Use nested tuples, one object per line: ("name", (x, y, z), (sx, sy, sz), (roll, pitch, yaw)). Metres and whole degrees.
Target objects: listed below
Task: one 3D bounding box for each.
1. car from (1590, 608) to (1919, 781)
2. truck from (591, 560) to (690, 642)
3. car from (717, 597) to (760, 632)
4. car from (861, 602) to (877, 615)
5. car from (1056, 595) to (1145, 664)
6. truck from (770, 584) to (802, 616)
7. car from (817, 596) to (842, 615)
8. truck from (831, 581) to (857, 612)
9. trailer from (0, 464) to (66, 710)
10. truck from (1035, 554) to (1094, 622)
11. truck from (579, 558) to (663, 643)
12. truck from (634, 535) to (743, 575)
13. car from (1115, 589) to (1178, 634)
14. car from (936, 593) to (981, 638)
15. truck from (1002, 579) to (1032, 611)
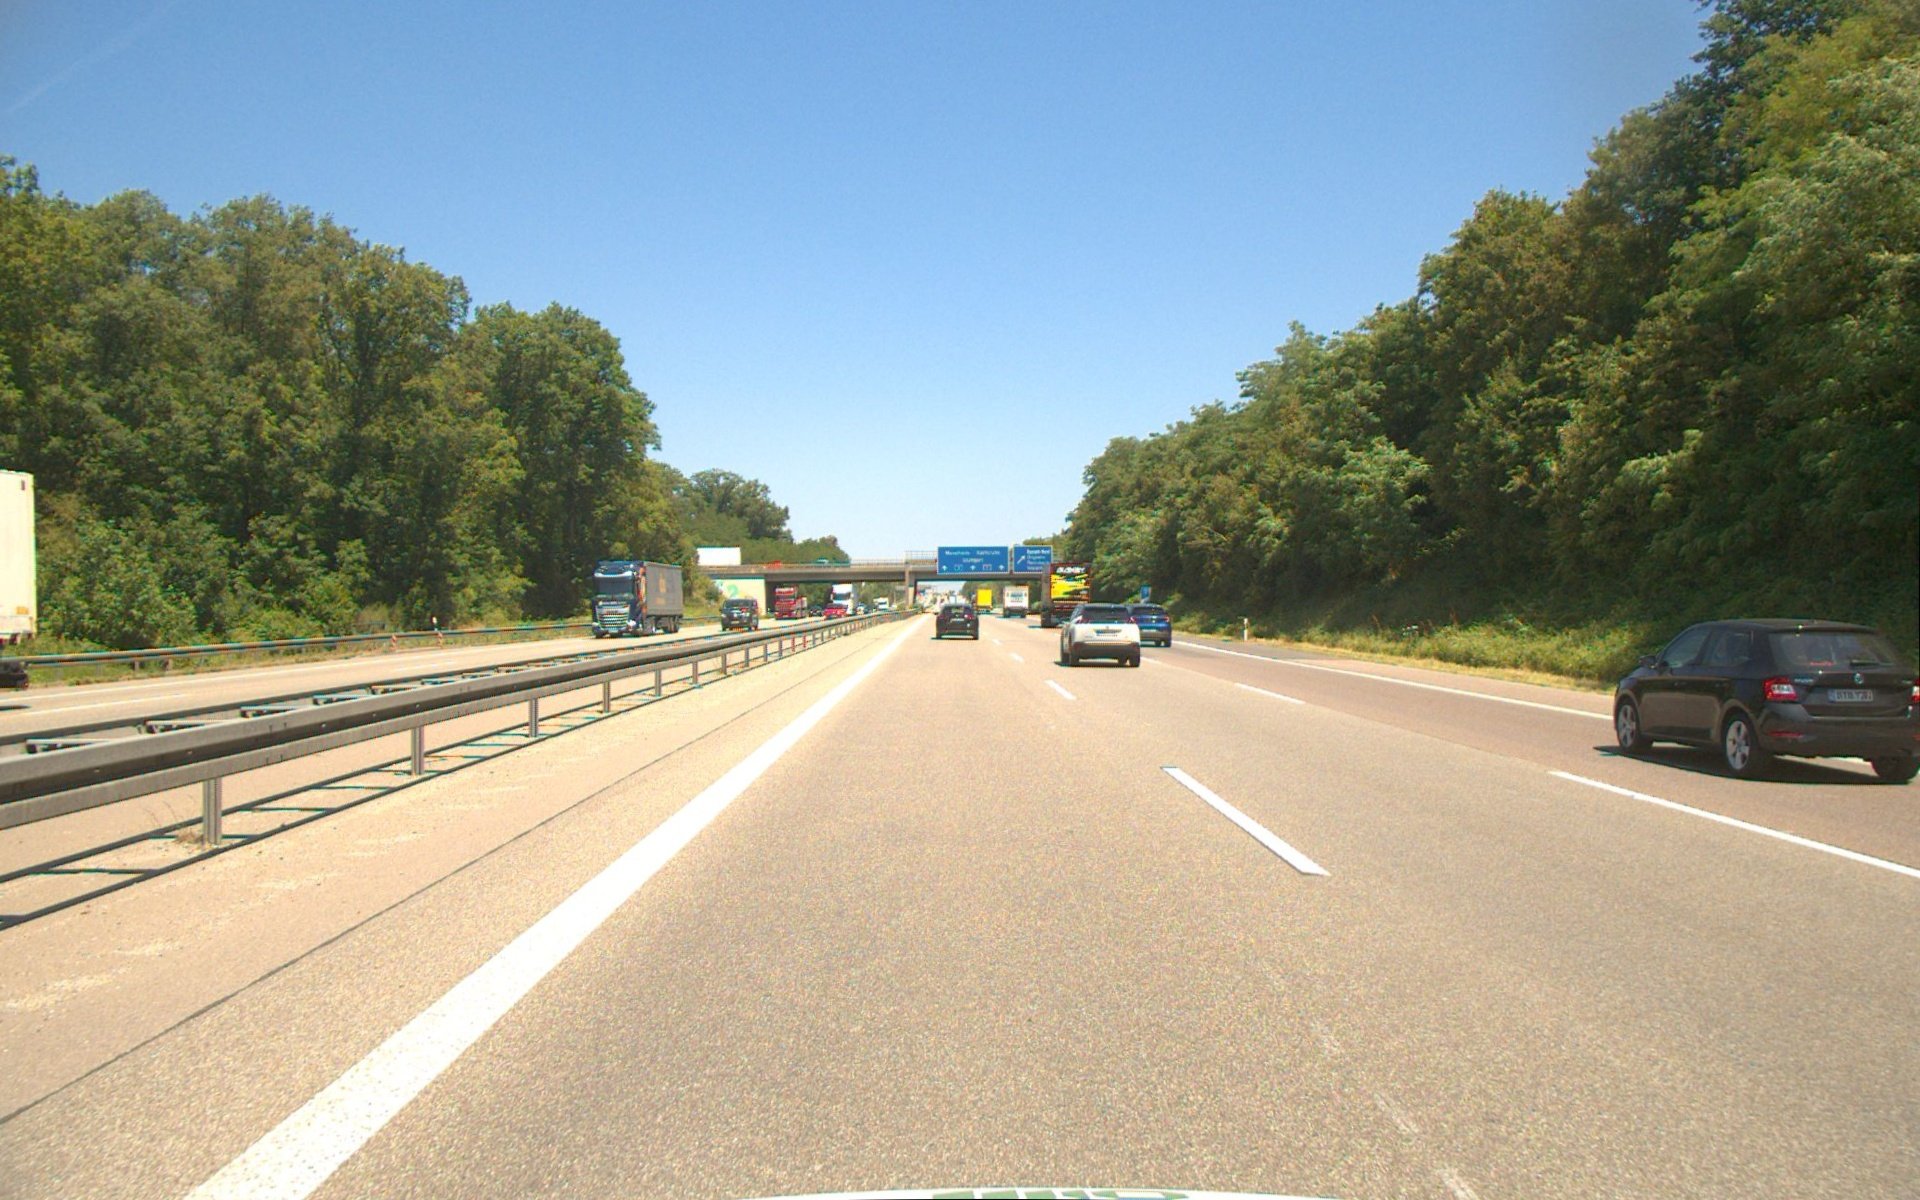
("car", (8.018, 0.839, 16.540), (1.636, 1.473, 4.573), (1, 0, -1))
("truck", (-18.521, 0.096, 97.029), (3.256, 4.417, 13.907), (1, 0, -1))
("car", (-13.810, 0.876, 103.436), (1.953, 2.049, 5.358), (-3, 0, -1))
("car", (-11.954, 1.119, 217.117), (1.770, 1.619, 4.668), (1, 0, 0))
("car", (3.508, 0.727, 42.150), (1.790, 1.636, 4.807), (0, 0, -1))
("truck", (-19.567, 0.013, 186.408), (2.693, 3.453, 7.660), (1, 0, 0))
("car", (-11.318, 0.478, 143.503), (1.696, 1.613, 4.644), (1, 0, 0))
("truck", (-15.398, -0.425, 219.906), (2.925, 4.089, 6.041), (1, -1, 0))
("trailer", (-17.038, -0.250, 24.923), (2.526, 4.059, 8.557), (1, 0, -1))
("truck", (6.668, -0.695, 106.972), (2.914, 4.107, 10.979), (2, 0, -1))
("truck", (-18.390, 0.048, 90.084), (3.256, 4.417, 6.611), (1, -1, -1))
("truck", (-41.342, -6.793, 252.623), (16.152, 5.663, 3.169), (1, -1, -8))
("car", (6.924, 0.437, 61.675), (1.832, 1.583, 4.200), (1, 0, -1))
("car", (-0.087, 0.622, 67.595), (1.790, 1.736, 3.999), (1, 0, -1))
("truck", (6.316, -0.455, 182.986), (2.965, 3.377, 10.775), (1, 0, 4))
